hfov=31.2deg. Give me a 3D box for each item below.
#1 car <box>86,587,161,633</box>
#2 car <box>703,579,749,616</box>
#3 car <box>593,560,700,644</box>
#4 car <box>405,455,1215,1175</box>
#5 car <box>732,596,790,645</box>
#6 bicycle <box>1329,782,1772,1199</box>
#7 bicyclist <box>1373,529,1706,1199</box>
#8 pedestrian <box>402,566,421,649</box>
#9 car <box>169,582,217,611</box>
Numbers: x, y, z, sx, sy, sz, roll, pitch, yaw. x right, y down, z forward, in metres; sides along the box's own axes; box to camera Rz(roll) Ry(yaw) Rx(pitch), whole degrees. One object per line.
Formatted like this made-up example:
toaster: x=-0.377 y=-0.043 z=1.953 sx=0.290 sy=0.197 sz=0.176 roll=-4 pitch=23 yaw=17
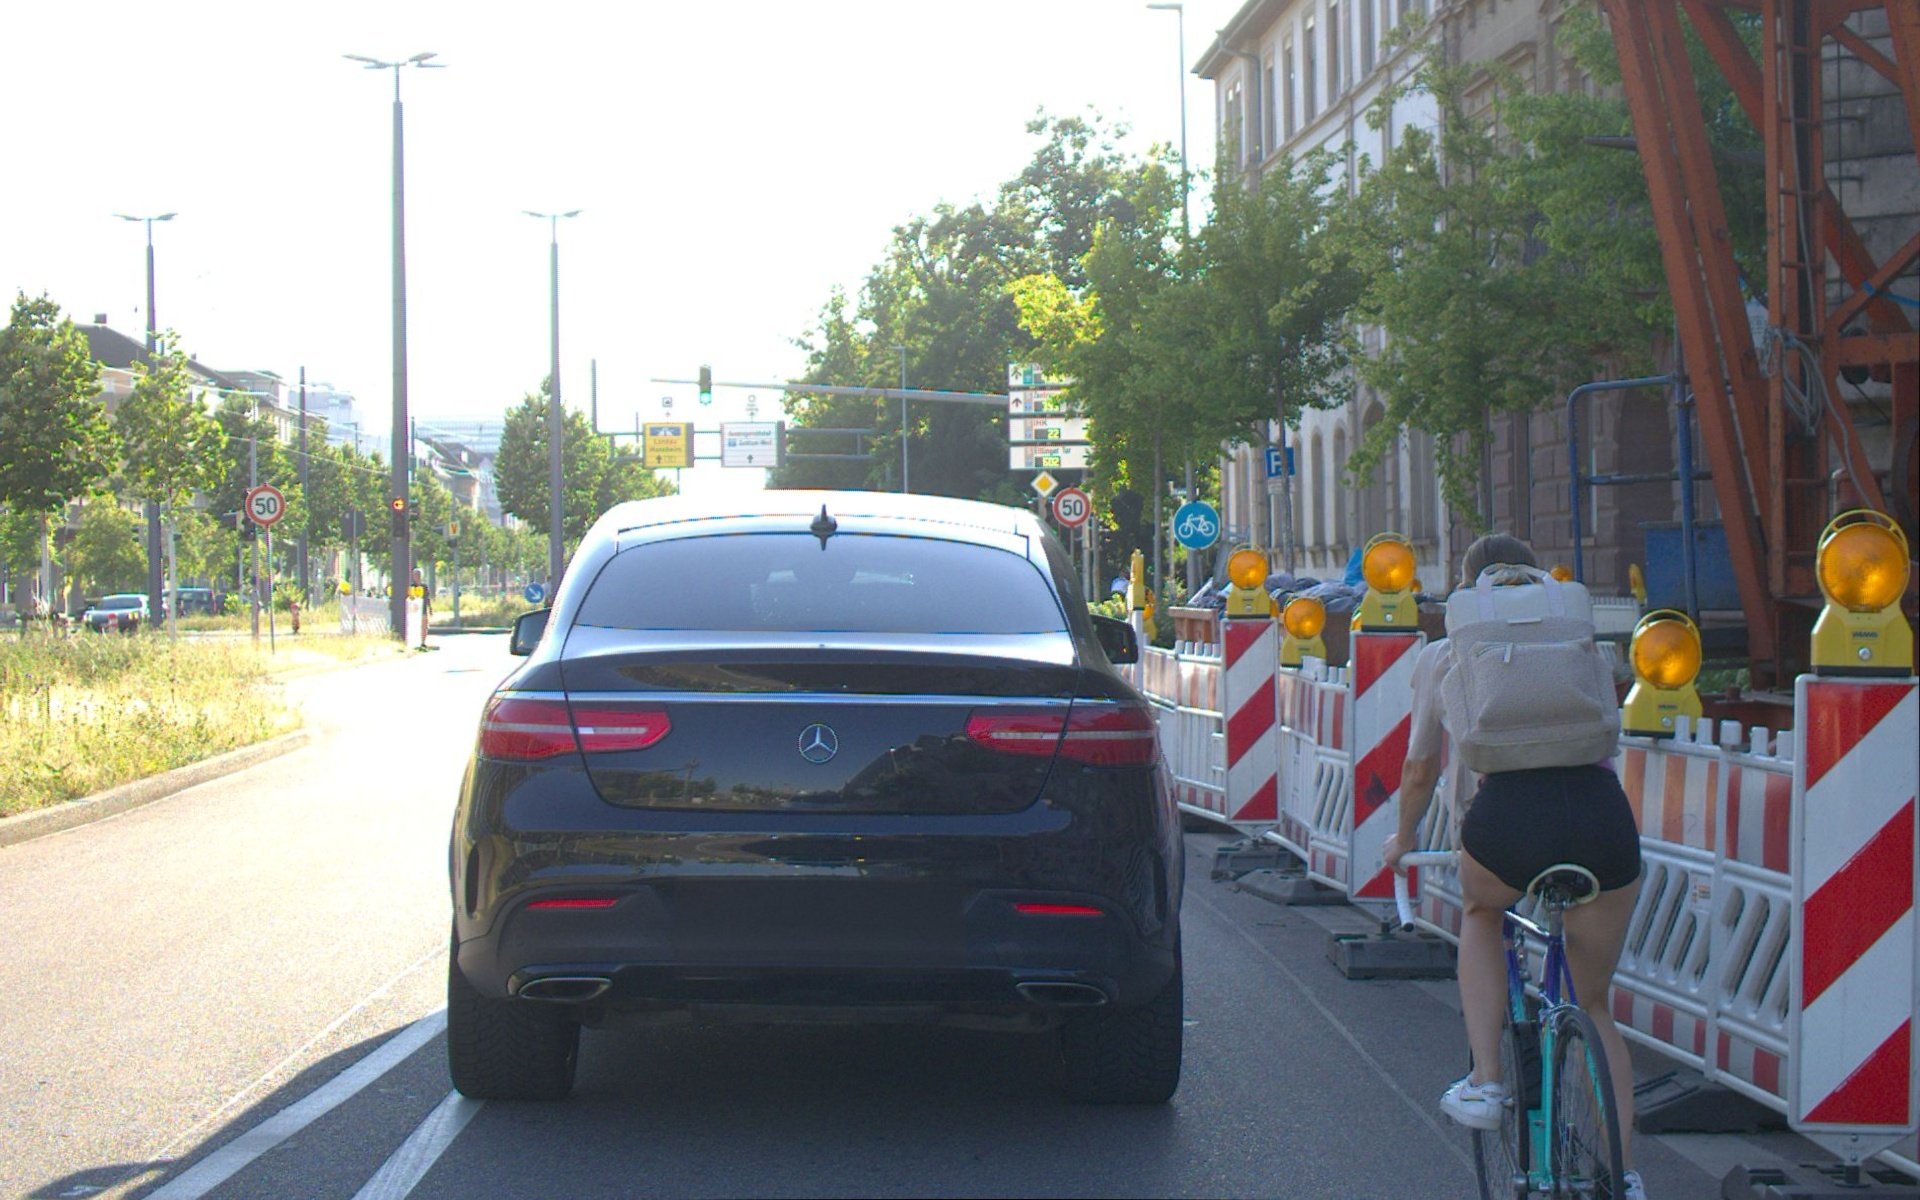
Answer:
car: x=-27.400 y=0.310 z=112.644 sx=1.708 sy=1.437 sz=3.583 roll=1 pitch=0 yaw=-2
car: x=-9.342 y=-0.114 z=137.362 sx=1.708 sy=1.437 sz=3.583 roll=1 pitch=0 yaw=-2
car: x=-5.520 y=0.018 z=60.876 sx=1.708 sy=1.437 sz=3.583 roll=0 pitch=1 yaw=-2
car: x=-0.390 y=0.525 z=10.558 sx=1.993 sy=1.766 sz=4.000 roll=1 pitch=0 yaw=0
car: x=-6.106 y=0.625 z=105.559 sx=1.708 sy=1.437 sz=3.583 roll=1 pitch=0 yaw=-2
bicycle: x=1.158 y=0.952 z=7.060 sx=0.512 sy=1.048 sz=1.725 roll=1 pitch=0 yaw=-3
bicyclist: x=1.159 y=0.559 z=6.958 sx=0.522 sy=1.391 sz=0.615 roll=1 pitch=0 yaw=-3
pedestrian: x=-11.576 y=0.153 z=72.611 sx=0.334 sy=1.757 sz=0.418 roll=1 pitch=0 yaw=-3
car: x=-38.655 y=-0.167 z=173.294 sx=1.708 sy=1.437 sz=3.583 roll=1 pitch=0 yaw=-2
